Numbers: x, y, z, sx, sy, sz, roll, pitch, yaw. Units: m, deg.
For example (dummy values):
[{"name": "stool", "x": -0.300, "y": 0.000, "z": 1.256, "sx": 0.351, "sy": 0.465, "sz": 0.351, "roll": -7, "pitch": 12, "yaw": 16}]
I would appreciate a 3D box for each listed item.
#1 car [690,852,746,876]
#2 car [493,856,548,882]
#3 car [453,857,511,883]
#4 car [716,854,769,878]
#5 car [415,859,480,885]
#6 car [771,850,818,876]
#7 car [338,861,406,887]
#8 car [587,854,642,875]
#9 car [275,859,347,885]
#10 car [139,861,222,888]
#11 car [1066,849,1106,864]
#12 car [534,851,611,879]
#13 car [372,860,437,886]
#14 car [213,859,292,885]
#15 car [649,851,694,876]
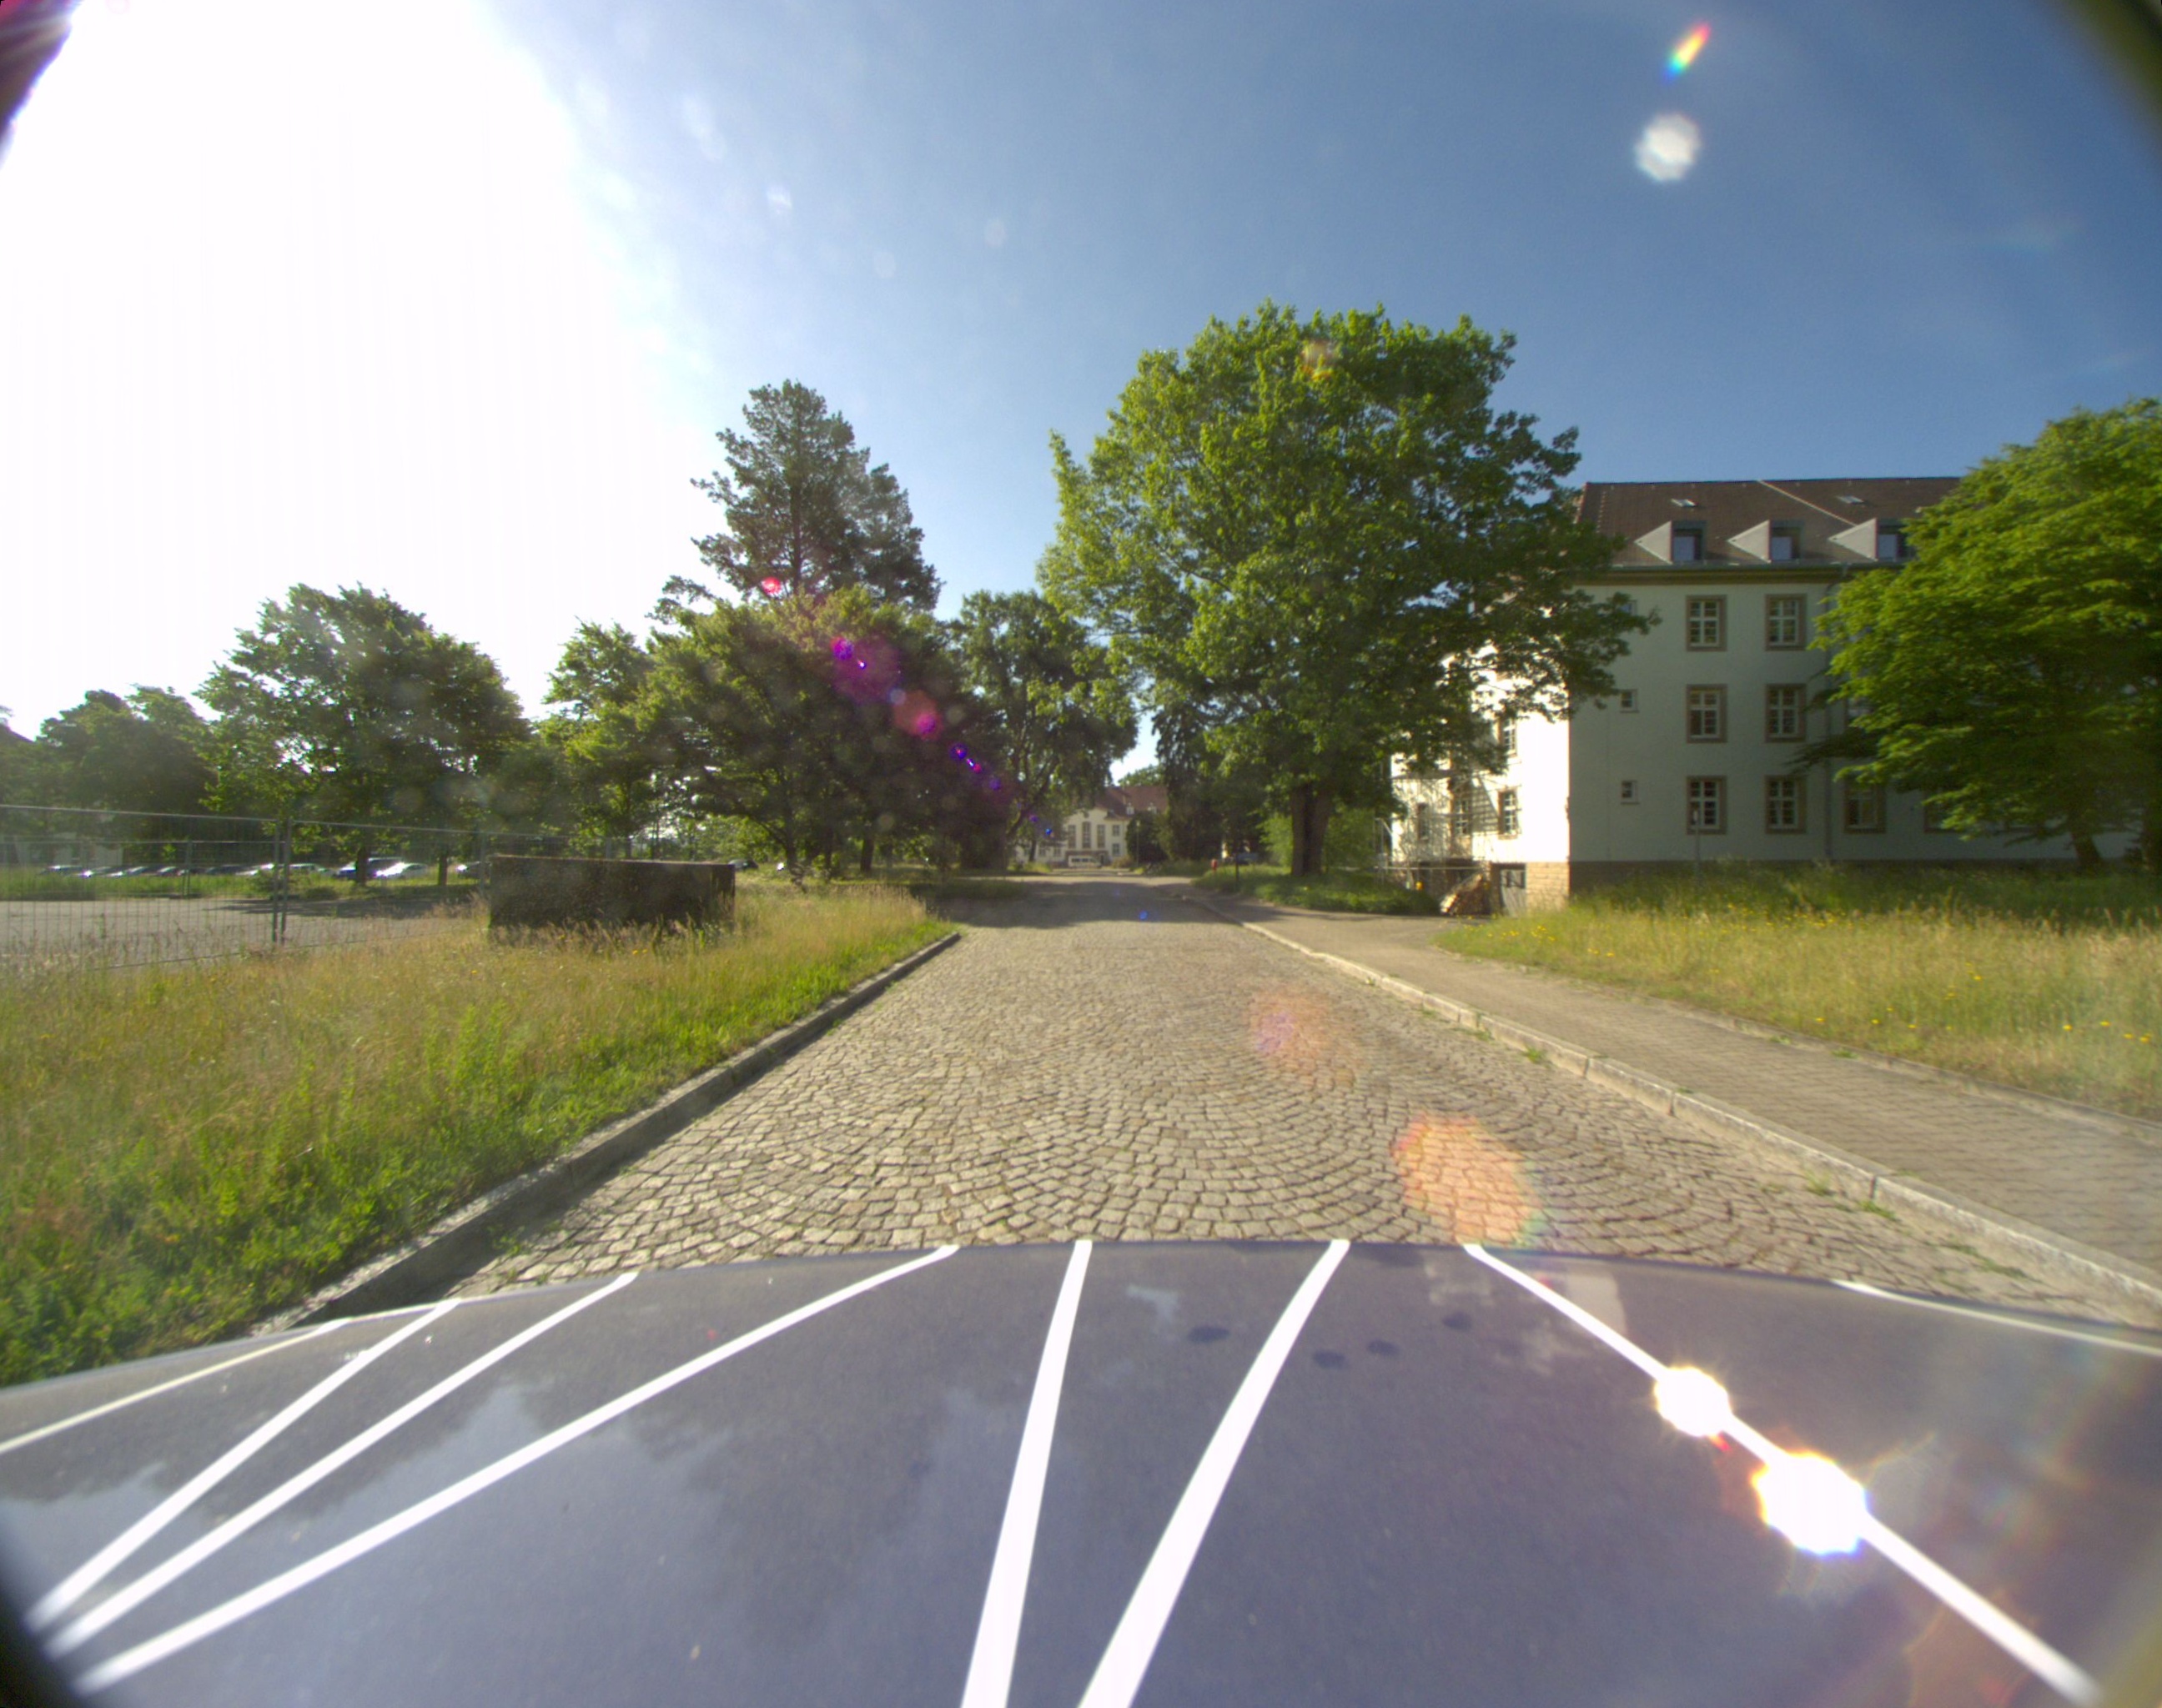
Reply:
[{"name": "car", "x": -29.440, "y": 0.779, "z": 61.744, "sx": 2.245, "sy": 1.828, "sz": 4.350, "roll": 0, "pitch": 0, "yaw": 4}, {"name": "car", "x": -45.022, "y": 1.151, "z": 61.109, "sx": 1.741, "sy": 2.002, "sz": 3.619, "roll": 0, "pitch": 0, "yaw": 0}, {"name": "car", "x": -47.827, "y": 1.254, "z": 60.787, "sx": 1.741, "sy": 2.002, "sz": 3.619, "roll": 0, "pitch": 0, "yaw": 0}, {"name": "car", "x": -27.080, "y": 0.902, "z": 60.921, "sx": 2.245, "sy": 1.828, "sz": 4.349, "roll": 0, "pitch": 0, "yaw": 1}, {"name": "car", "x": -51.744, "y": 1.453, "z": 62.149, "sx": 1.999, "sy": 2.002, "sz": 3.999, "roll": 0, "pitch": 0, "yaw": -1}, {"name": "car", "x": -22.806, "y": 0.678, "z": 60.650, "sx": 2.246, "sy": 2.002, "sz": 4.348, "roll": 0, "pitch": 0, "yaw": -3}, {"name": "car", "x": -56.490, "y": 1.554, "z": 60.621, "sx": 1.741, "sy": 2.002, "sz": 3.852, "roll": 0, "pitch": 0, "yaw": 2}, {"name": "car", "x": -37.475, "y": 0.797, "z": 61.150, "sx": 1.999, "sy": 1.642, "sz": 3.999, "roll": 0, "pitch": 0, "yaw": 0}, {"name": "car", "x": -61.805, "y": 1.427, "z": 61.068, "sx": 1.741, "sy": 2.002, "sz": 3.852, "roll": 0, "pitch": 0, "yaw": 2}, {"name": "car", "x": -72.842, "y": 1.627, "z": 61.564, "sx": 1.999, "sy": 2.002, "sz": 3.999, "roll": 0, "pitch": 0, "yaw": -1}, {"name": "car", "x": 0.771, "y": 0.443, "z": 124.318, "sx": 6.445, "sy": 2.452, "sz": 2.463, "roll": 0, "pitch": 0, "yaw": 1}, {"name": "car", "x": -41.253, "y": 0.838, "z": 61.857, "sx": 1.998, "sy": 2.002, "sz": 6.032, "roll": -2, "pitch": 2, "yaw": 1}, {"name": "car", "x": -54.033, "y": 1.467, "z": 60.745, "sx": 1.741, "sy": 2.002, "sz": 3.851, "roll": 0, "pitch": 0, "yaw": 0}, {"name": "car", "x": -66.445, "y": 1.395, "z": 61.040, "sx": 1.999, "sy": 2.002, "sz": 3.999, "roll": 0, "pitch": 0, "yaw": -1}, {"name": "car", "x": -33.355, "y": 0.732, "z": 62.033, "sx": 1.741, "sy": 2.002, "sz": 3.619, "roll": 0, "pitch": 0, "yaw": 0}]
